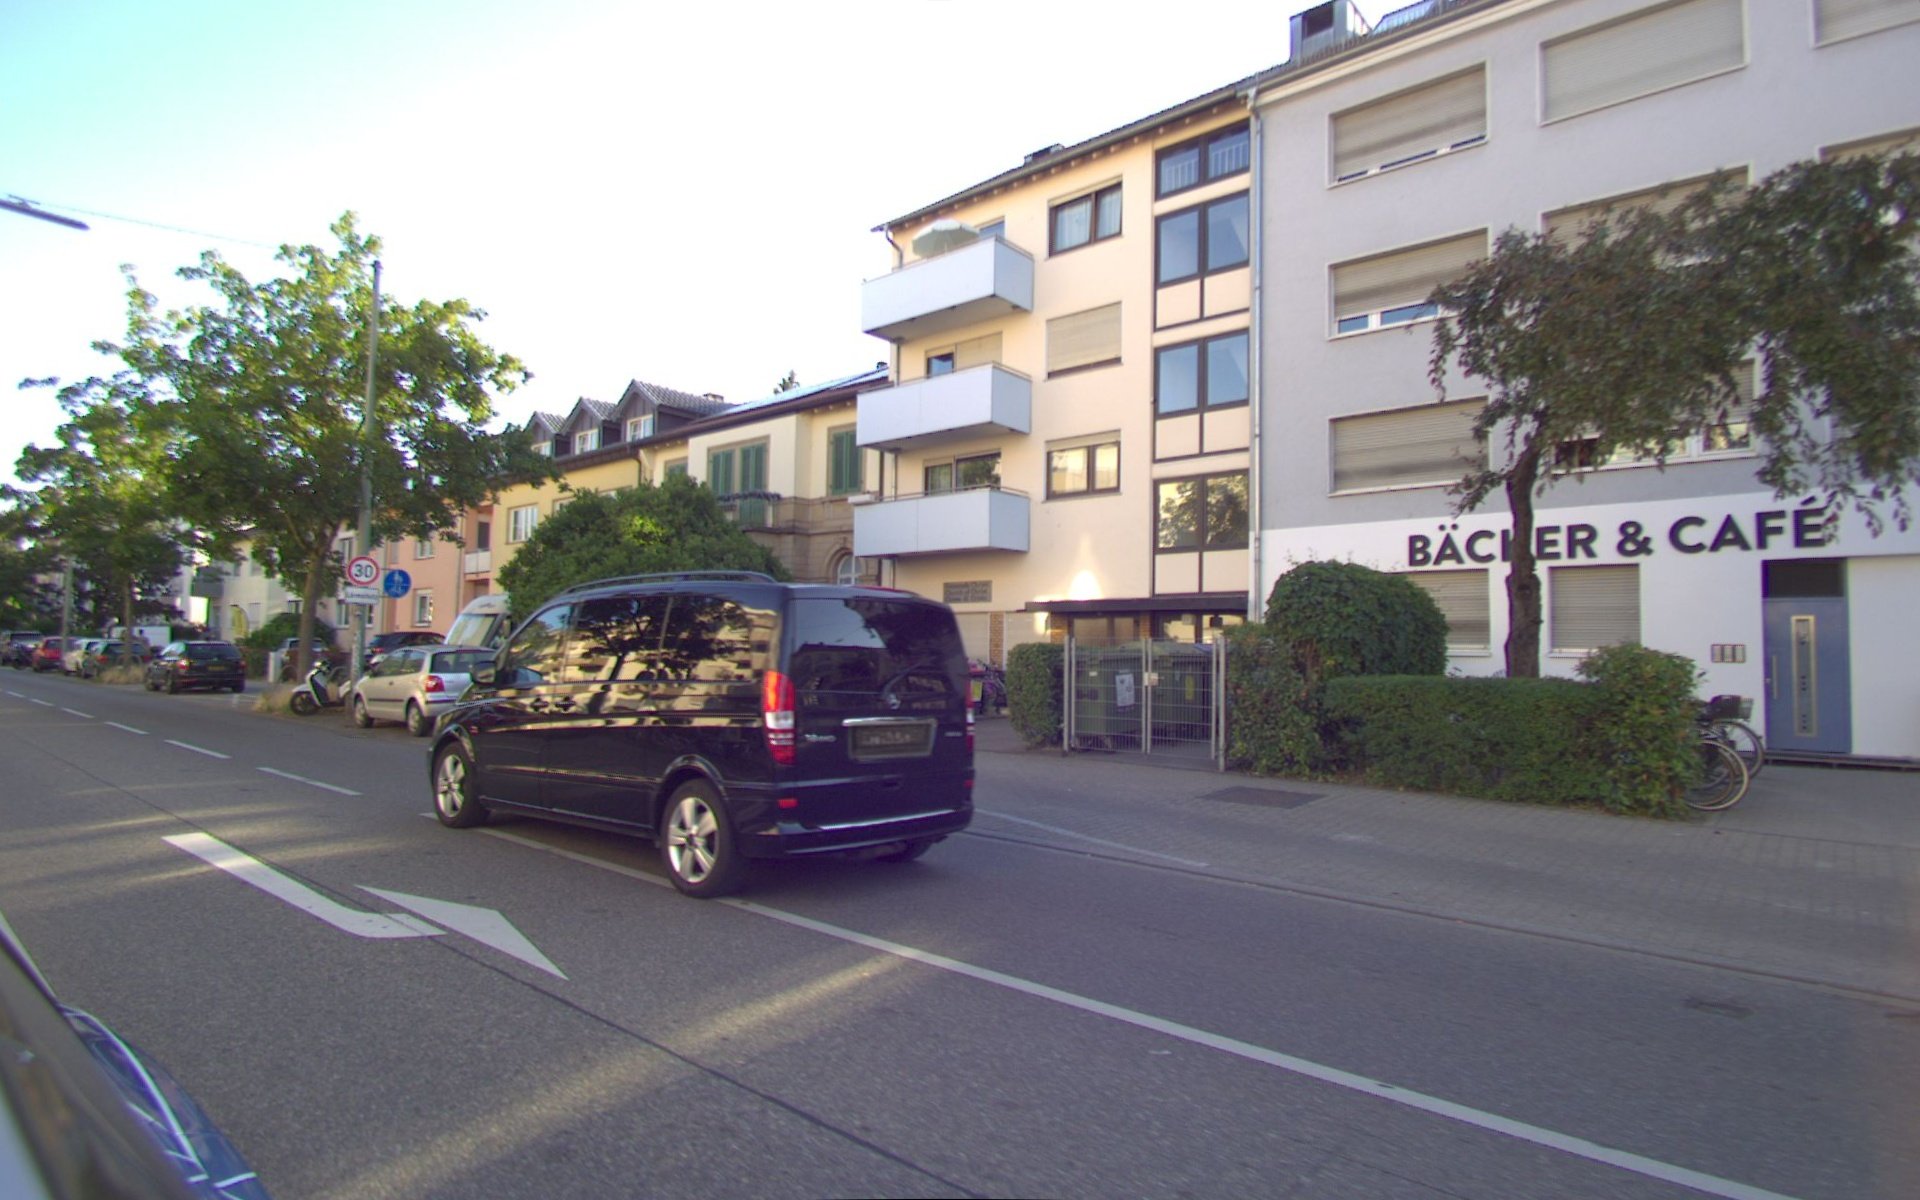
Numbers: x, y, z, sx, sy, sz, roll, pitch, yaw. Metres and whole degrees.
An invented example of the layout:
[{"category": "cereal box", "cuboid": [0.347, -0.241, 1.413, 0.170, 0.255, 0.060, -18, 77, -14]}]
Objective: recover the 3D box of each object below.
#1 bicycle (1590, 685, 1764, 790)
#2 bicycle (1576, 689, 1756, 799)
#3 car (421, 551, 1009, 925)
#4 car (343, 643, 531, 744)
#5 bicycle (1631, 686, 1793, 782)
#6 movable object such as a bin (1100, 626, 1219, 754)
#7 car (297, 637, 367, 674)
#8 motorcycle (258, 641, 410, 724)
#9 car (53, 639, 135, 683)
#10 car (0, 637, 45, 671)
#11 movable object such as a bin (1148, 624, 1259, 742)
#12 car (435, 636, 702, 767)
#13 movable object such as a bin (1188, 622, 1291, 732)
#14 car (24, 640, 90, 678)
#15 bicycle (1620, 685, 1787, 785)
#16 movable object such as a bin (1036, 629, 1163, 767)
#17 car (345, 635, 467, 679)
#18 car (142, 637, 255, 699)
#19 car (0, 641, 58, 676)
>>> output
[{"category": "bicycle", "cuboid": [7.768, 1.460, 11.005, 1.477, 1.022, 0.433, -2, -5, 44]}, {"category": "bicycle", "cuboid": [7.348, 1.466, 10.576, 1.477, 1.022, 0.433, -2, -5, 44]}, {"category": "car", "cuboid": [-1.953, 0.797, 7.272, 4.406, 1.891, 1.818, -2, -4, 40]}, {"category": "car", "cuboid": [-9.147, 1.554, 17.616, 3.571, 1.547, 1.732, -2, -4, 42]}, {"category": "bicycle", "cuboid": [8.895, 1.559, 12.008, 1.477, 1.022, 0.433, -2, -5, 44]}, {"category": "movable object such as a bin", "cuboid": [2.863, 1.236, 14.494, 1.180, 1.671, 1.292, -1, 0, 40]}, {"category": "car", "cuboid": [-29.482, 2.592, 47.469, 1.816, 1.626, 4.412, 4, -5, -44]}, {"category": "motorcycle", "cuboid": [-12.671, 1.629, 20.474, 2.876, 1.547, 1.251, -1, -4, 27]}, {"category": "car", "cuboid": [-34.469, 2.403, 40.244, 4.407, 1.626, 1.818, -2, -4, 41]}, {"category": "car", "cuboid": [-49.177, 2.812, 52.786, 3.658, 1.679, 1.670, -2, -4, 41]}, {"category": "movable object such as a bin", "cuboid": [3.738, 1.225, 15.513, 1.180, 1.671, 1.292, -1, 0, 40]}, {"category": "car", "cuboid": [-5.706, 1.361, 14.589, 3.946, 1.626, 1.788, -2, -4, 38]}, {"category": "movable object such as a bin", "cuboid": [4.569, 1.213, 16.546, 1.180, 1.671, 1.292, -1, 0, 40]}, {"category": "car", "cuboid": [-39.032, 2.533, 43.744, 3.658, 1.575, 1.621, -2, -4, 41]}, {"category": "bicycle", "cuboid": [8.470, 1.510, 11.571, 1.477, 1.022, 0.433, -2, -5, 44]}, {"category": "movable object such as a bin", "cuboid": [1.874, 1.250, 13.543, 1.180, 1.671, 1.292, -1, 0, 40]}, {"category": "car", "cuboid": [-21.564, 2.233, 39.612, 1.823, 1.626, 4.395, 0, -3, 10]}, {"category": "car", "cuboid": [-21.712, 1.900, 28.793, 4.195, 1.626, 1.711, -2, -4, 41]}, {"category": "car", "cuboid": [-43.748, 2.715, 47.441, 3.658, 1.575, 1.670, -2, -4, 41]}]
